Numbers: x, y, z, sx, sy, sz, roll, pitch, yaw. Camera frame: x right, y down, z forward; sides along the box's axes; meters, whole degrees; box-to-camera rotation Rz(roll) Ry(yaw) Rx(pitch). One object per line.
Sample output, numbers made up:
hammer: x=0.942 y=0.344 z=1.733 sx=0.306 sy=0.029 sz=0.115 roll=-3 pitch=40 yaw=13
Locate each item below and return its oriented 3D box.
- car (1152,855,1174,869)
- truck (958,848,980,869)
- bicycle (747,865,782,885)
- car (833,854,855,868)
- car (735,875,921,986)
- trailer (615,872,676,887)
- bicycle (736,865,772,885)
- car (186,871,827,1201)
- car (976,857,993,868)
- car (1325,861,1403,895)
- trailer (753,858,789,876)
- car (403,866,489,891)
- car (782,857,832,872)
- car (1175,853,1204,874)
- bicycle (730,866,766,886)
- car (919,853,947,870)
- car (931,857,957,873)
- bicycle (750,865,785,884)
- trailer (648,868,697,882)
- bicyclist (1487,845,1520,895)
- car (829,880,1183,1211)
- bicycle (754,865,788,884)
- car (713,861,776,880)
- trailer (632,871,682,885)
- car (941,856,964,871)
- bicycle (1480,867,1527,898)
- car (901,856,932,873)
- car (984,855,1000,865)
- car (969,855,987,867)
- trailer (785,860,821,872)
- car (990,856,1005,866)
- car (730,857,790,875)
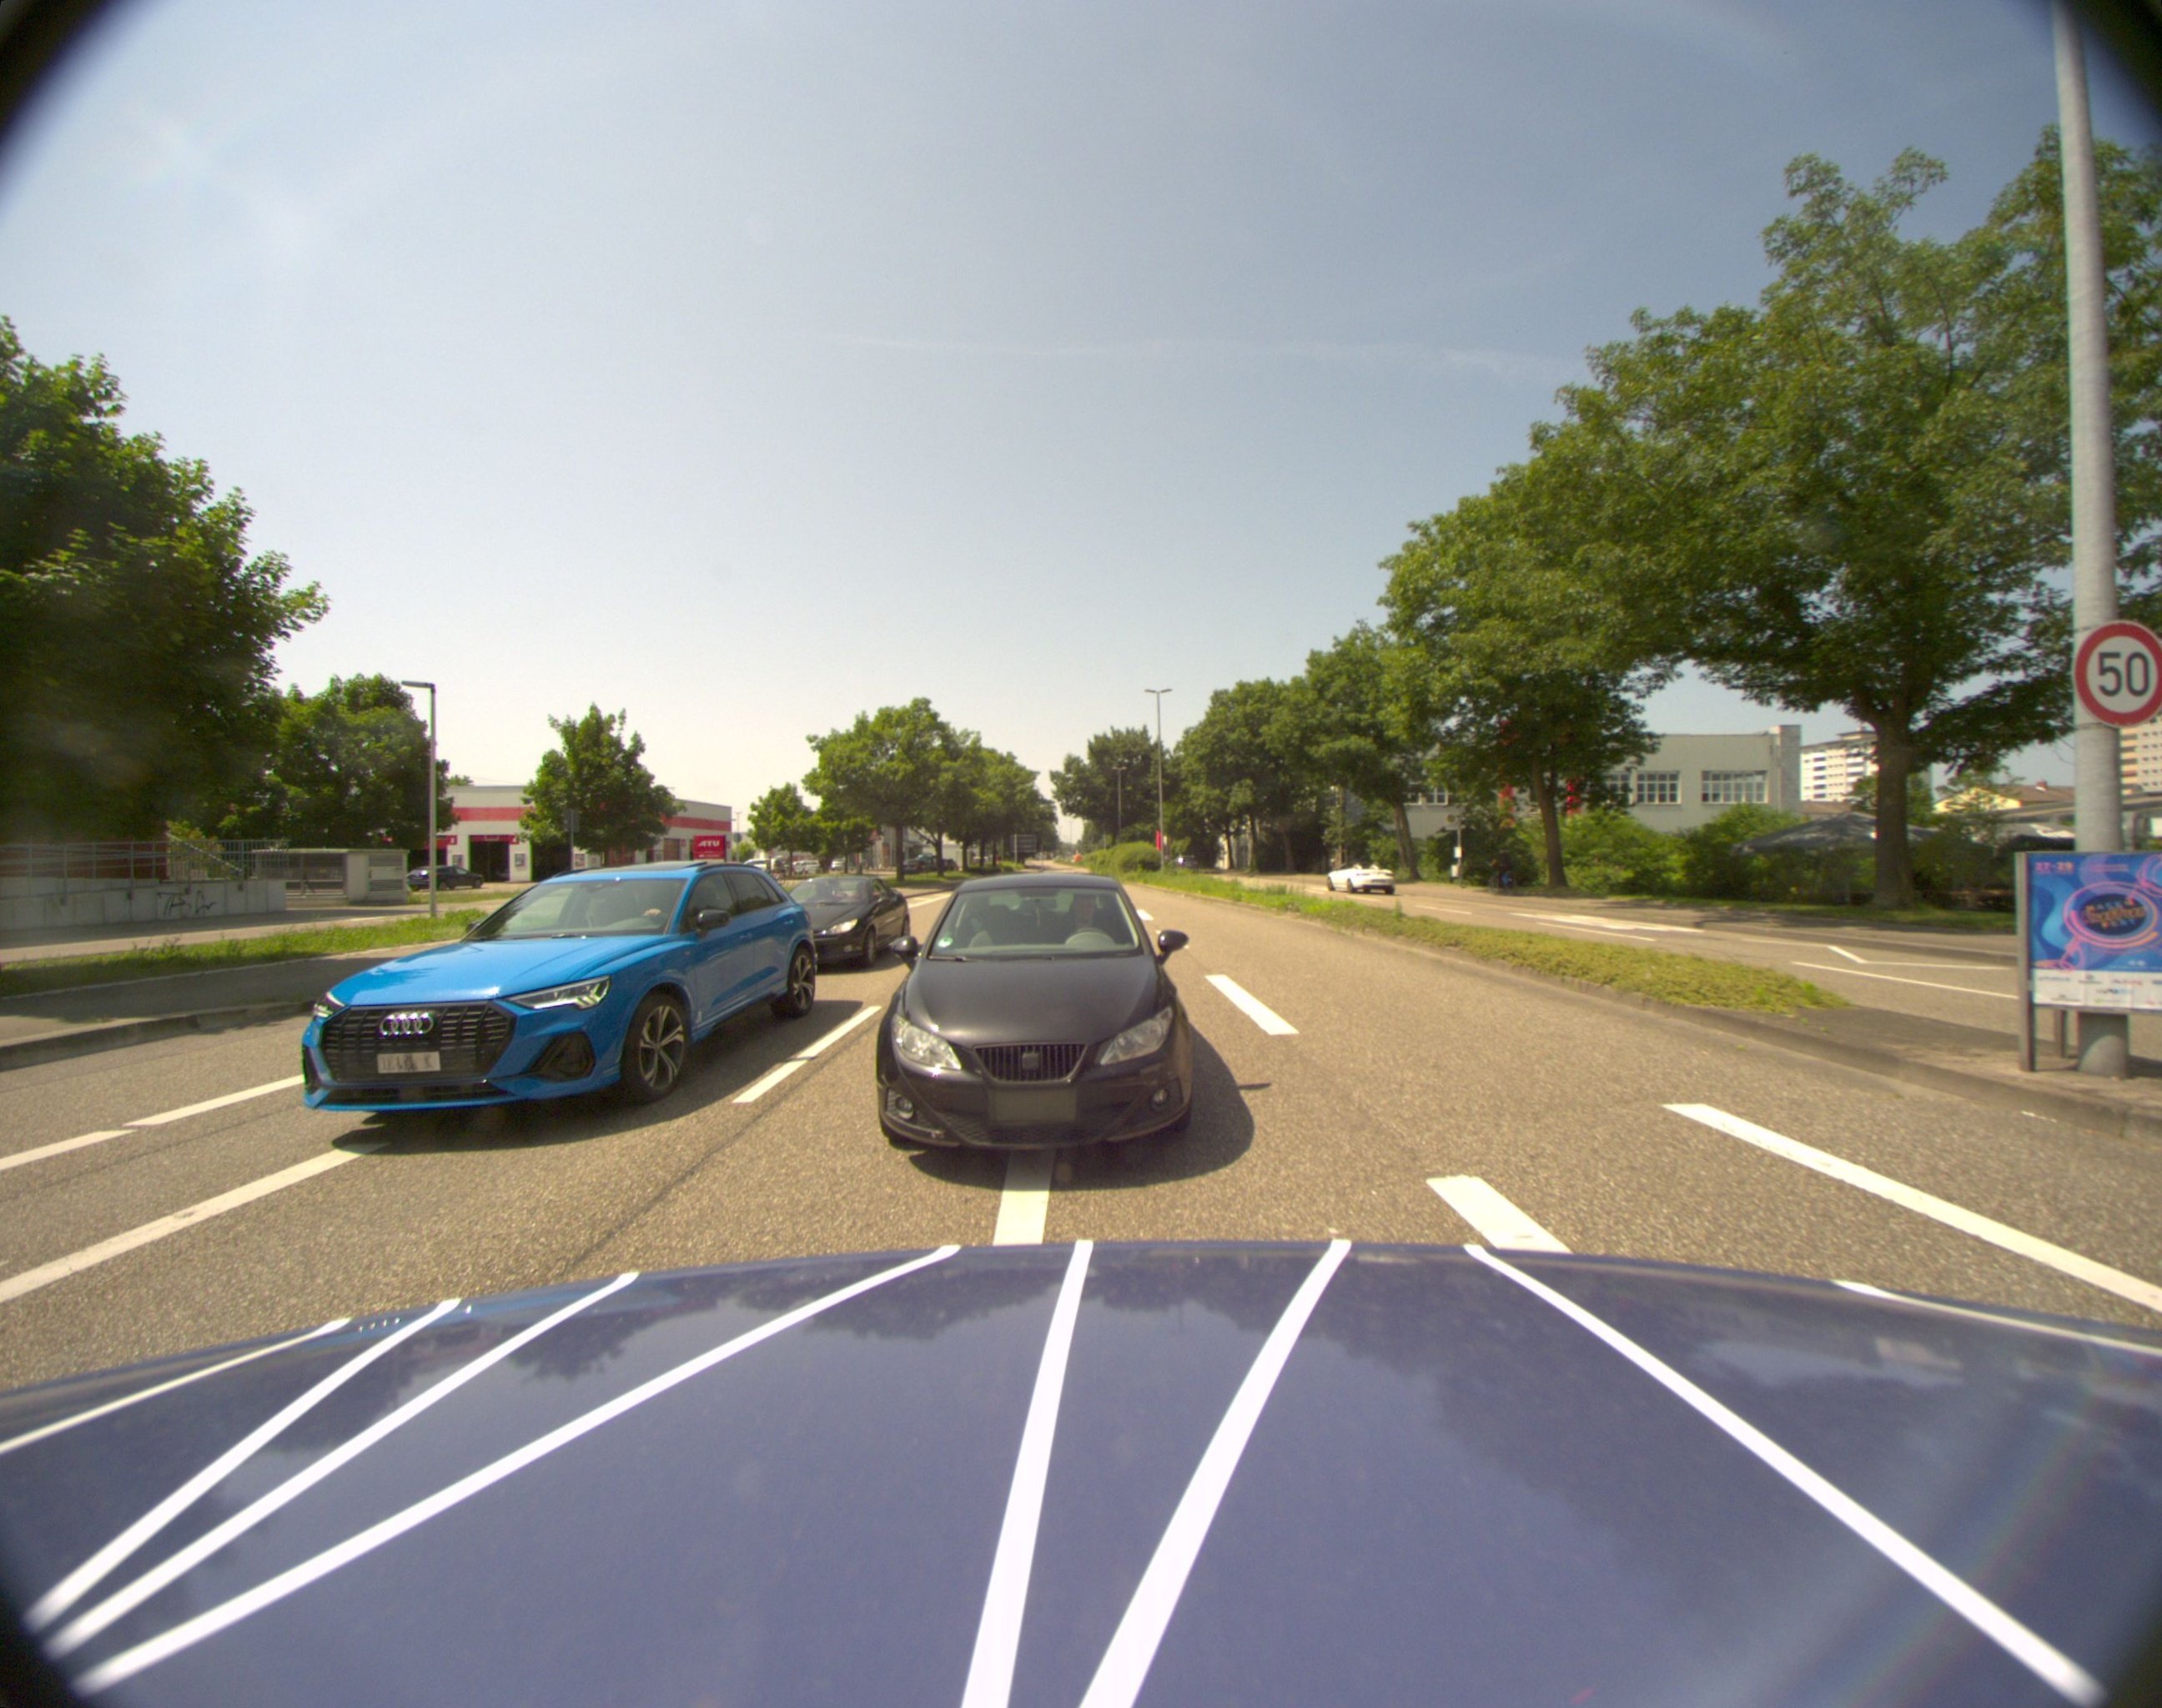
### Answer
car: x=8.268 y=0.801 z=76.681 sx=1.683 sy=1.331 sz=3.999 roll=2 pitch=0 yaw=-1
truck: x=-13.535 y=0.544 z=92.011 sx=1.904 sy=2.552 sz=4.000 roll=0 pitch=0 yaw=2
bicycle: x=-18.192 y=1.223 z=43.729 sx=1.784 sy=1.117 sz=0.514 roll=0 pitch=0 yaw=-6
car: x=-27.415 y=0.818 z=87.980 sx=1.759 sy=1.586 sz=3.997 roll=0 pitch=0 yaw=-7
car: x=-3.855 y=1.097 z=12.330 sx=1.642 sy=1.336 sz=4.000 roll=-3 pitch=0 yaw=0
trailer: x=-23.617 y=1.370 z=41.269 sx=2.467 sy=0.757 sz=1.449 roll=-1 pitch=0 yaw=1
bicycle: x=-18.464 y=1.202 z=42.983 sx=1.784 sy=1.117 sz=0.514 roll=0 pitch=0 yaw=-6
car: x=-3.729 y=0.999 z=6.173 sx=1.842 sy=1.586 sz=4.400 roll=-1 pitch=0 yaw=0
car: x=-13.268 y=1.199 z=104.610 sx=1.719 sy=1.458 sz=4.000 roll=0 pitch=0 yaw=1
car: x=12.037 y=0.974 z=32.626 sx=1.722 sy=1.255 sz=4.301 roll=2 pitch=0 yaw=0
trailer: x=-27.314 y=1.118 z=67.012 sx=2.642 sy=1.518 sz=1.415 roll=0 pitch=0 yaw=-2
car: x=-38.159 y=1.442 z=45.826 sx=1.717 sy=1.364 sz=4.145 roll=0 pitch=0 yaw=0
car: x=-25.074 y=0.925 z=69.607 sx=3.998 sy=1.293 sz=1.689 roll=0 pitch=0 yaw=-3
car: x=8.792 y=0.772 z=62.054 sx=1.691 sy=1.591 sz=3.884 roll=2 pitch=0 yaw=-1
bicycle: x=-18.548 y=1.220 z=42.357 sx=1.784 sy=1.117 sz=0.514 roll=0 pitch=0 yaw=-6
car: x=-13.422 y=0.677 z=68.935 sx=1.719 sy=1.458 sz=4.000 roll=0 pitch=0 yaw=1
car: x=-13.327 y=1.024 z=74.108 sx=1.719 sy=1.511 sz=4.000 roll=0 pitch=0 yaw=1
bicycle: x=-18.287 y=1.187 z=44.369 sx=1.784 sy=1.117 sz=0.514 roll=0 pitch=0 yaw=-6
trailer: x=-24.032 y=1.229 z=44.741 sx=2.137 sy=0.757 sz=1.394 roll=-1 pitch=0 yaw=1
bicyclist: x=15.294 y=0.578 z=27.516 sx=0.651 sy=1.759 sz=0.927 roll=-1 pitch=1 yaw=0
car: x=-0.366 y=0.964 z=5.552 sx=1.642 sy=1.395 sz=4.000 roll=0 pitch=0 yaw=-1
bicycle: x=-18.377 y=1.207 z=45.088 sx=1.784 sy=1.117 sz=0.514 roll=0 pitch=0 yaw=-6
car: x=-25.500 y=1.246 z=57.662 sx=3.998 sy=1.394 sz=1.747 roll=0 pitch=0 yaw=-2
trailer: x=-24.045 y=1.364 z=43.124 sx=2.137 sy=0.757 sz=1.267 roll=-1 pitch=0 yaw=1
car: x=-13.553 y=0.994 z=80.282 sx=1.719 sy=1.504 sz=4.000 roll=0 pitch=0 yaw=1
bicycle: x=15.290 y=1.001 z=27.568 sx=0.656 sy=1.045 sz=1.884 roll=-1 pitch=0 yaw=1
car: x=-13.508 y=0.832 z=62.707 sx=1.642 sy=1.363 sz=4.000 roll=0 pitch=0 yaw=1
car: x=-13.121 y=0.820 z=112.114 sx=1.719 sy=1.458 sz=4.000 roll=0 pitch=0 yaw=1
car: x=-13.300 y=0.890 z=97.846 sx=1.719 sy=1.458 sz=4.000 roll=0 pitch=0 yaw=1
trailer: x=-24.590 y=1.063 z=67.225 sx=2.642 sy=1.046 sz=1.578 roll=0 pitch=0 yaw=-2
car: x=-13.007 y=1.095 z=118.442 sx=1.719 sy=1.458 sz=4.000 roll=0 pitch=0 yaw=1
car: x=-25.272 y=0.940 z=59.890 sx=3.998 sy=1.394 sz=1.747 roll=0 pitch=0 yaw=-3
